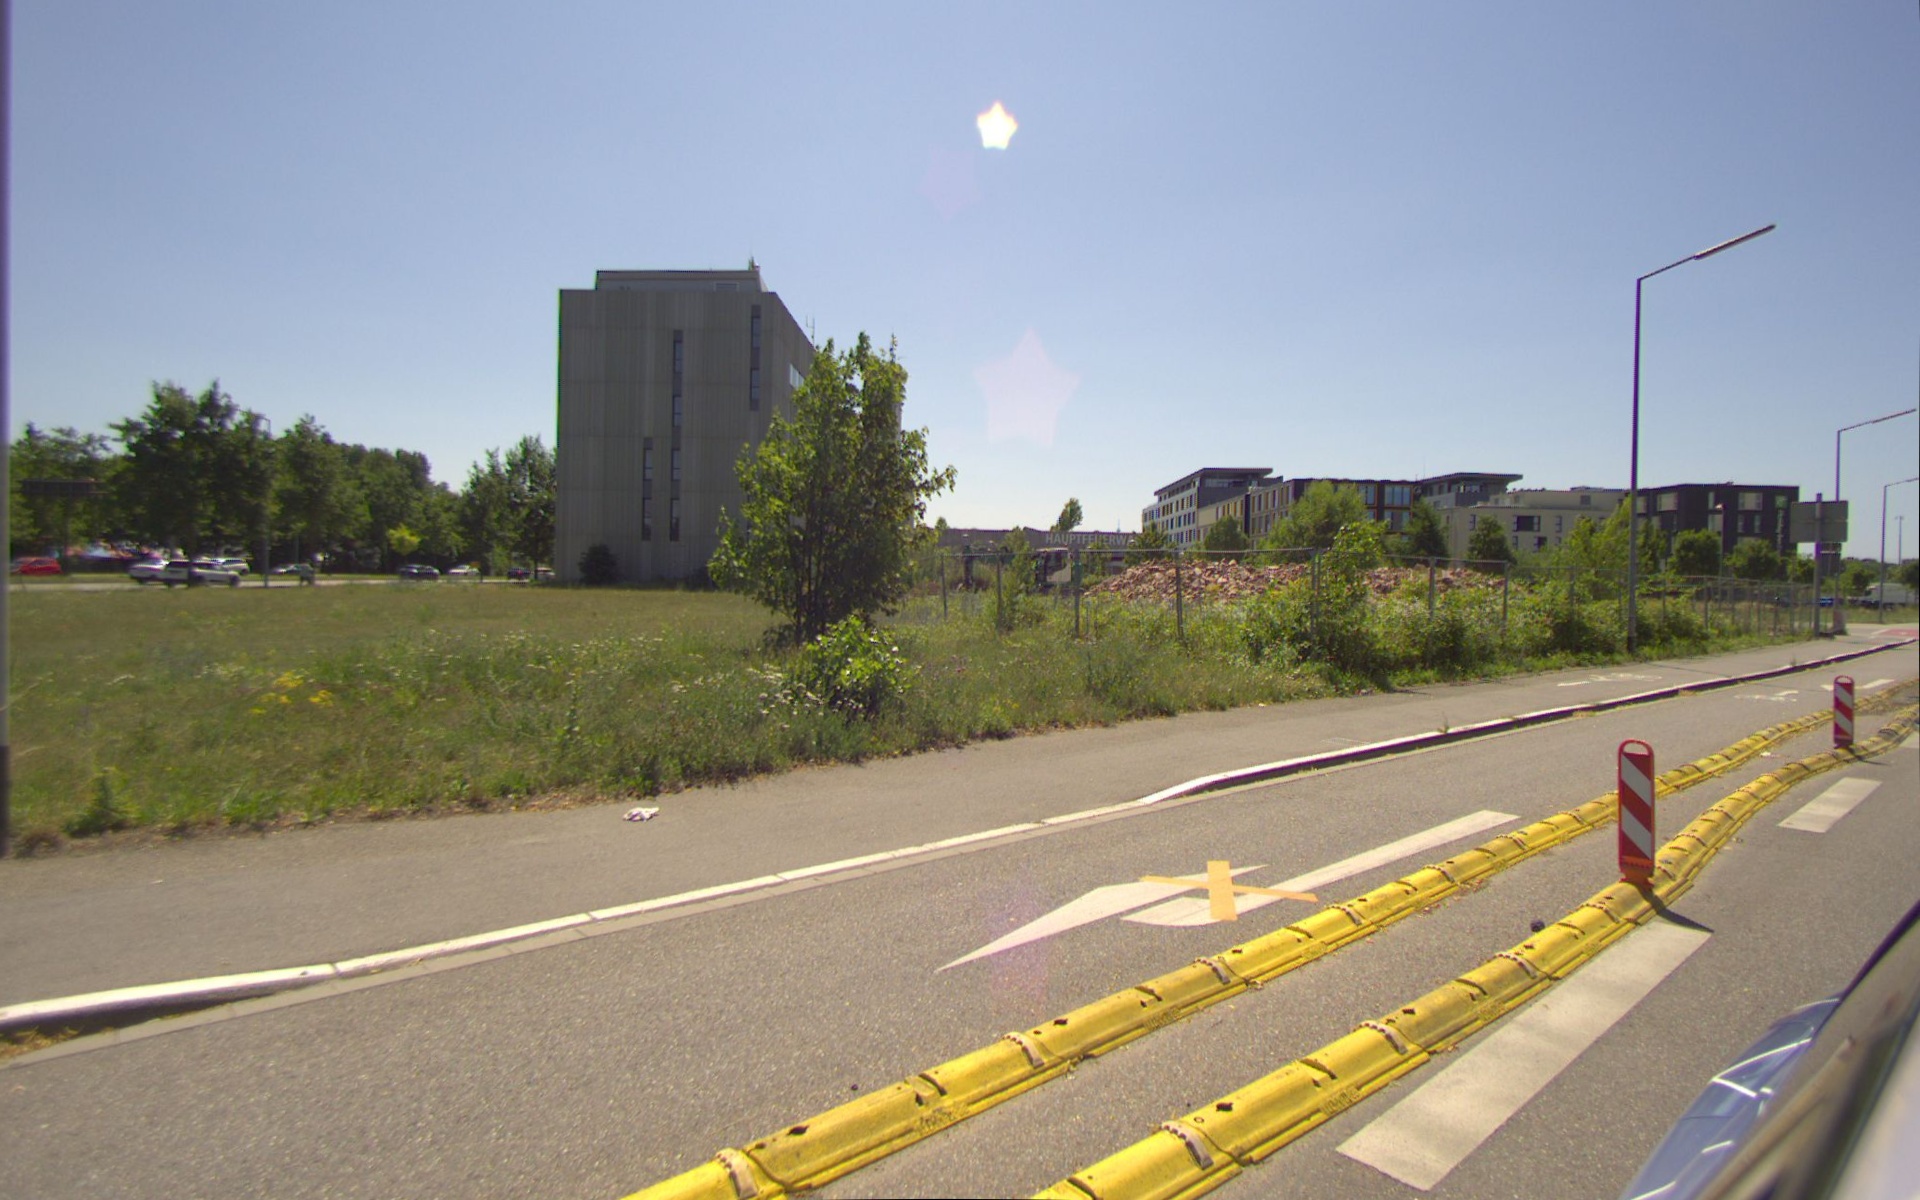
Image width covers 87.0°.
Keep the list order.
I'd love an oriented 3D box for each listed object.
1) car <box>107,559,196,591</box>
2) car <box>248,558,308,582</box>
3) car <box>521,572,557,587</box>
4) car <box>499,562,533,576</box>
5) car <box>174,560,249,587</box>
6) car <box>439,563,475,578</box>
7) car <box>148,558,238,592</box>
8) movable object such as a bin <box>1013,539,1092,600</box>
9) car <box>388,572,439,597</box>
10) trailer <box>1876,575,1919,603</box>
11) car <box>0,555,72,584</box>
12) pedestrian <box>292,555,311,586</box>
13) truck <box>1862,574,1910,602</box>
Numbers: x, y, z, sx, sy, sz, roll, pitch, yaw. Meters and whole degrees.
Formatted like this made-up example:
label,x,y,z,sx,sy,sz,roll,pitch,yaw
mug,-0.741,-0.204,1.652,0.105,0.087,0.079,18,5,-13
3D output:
label,x,y,z,sx,sy,sz,roll,pitch,yaw
car,-48.503,-1.482,60.832,1.962,1.838,4.264,0,1,0
car,-62.185,-2.706,92.399,1.963,2.039,5.083,0,1,2
car,-41.868,-2.009,100.684,1.604,1.462,4.015,0,1,6
car,-47.834,-3.295,109.069,1.961,1.425,4.001,0,1,-1
car,-58.445,-2.021,79.154,1.963,2.039,5.083,0,1,2
car,-58.335,-3.392,117.430,1.964,1.738,3.996,0,1,4
car,-43.984,-1.418,58.176,1.962,1.838,4.264,0,1,0
movable object such as a bin,4.929,-1.592,53.958,3.619,3.101,2.207,0,1,-35
car,-45.704,-1.316,84.710,1.964,2.039,3.997,0,1,3
trailer,119.654,-1.369,126.415,8.030,3.390,1.998,1,1,4
car,-62.063,-1.982,67.254,1.963,1.873,4.602,0,1,2
pedestrian,-33.953,-1.495,52.167,0.489,1.583,0.737,0,0,-1
truck,115.858,-1.488,126.712,3.928,3.377,1.998,1,1,4
